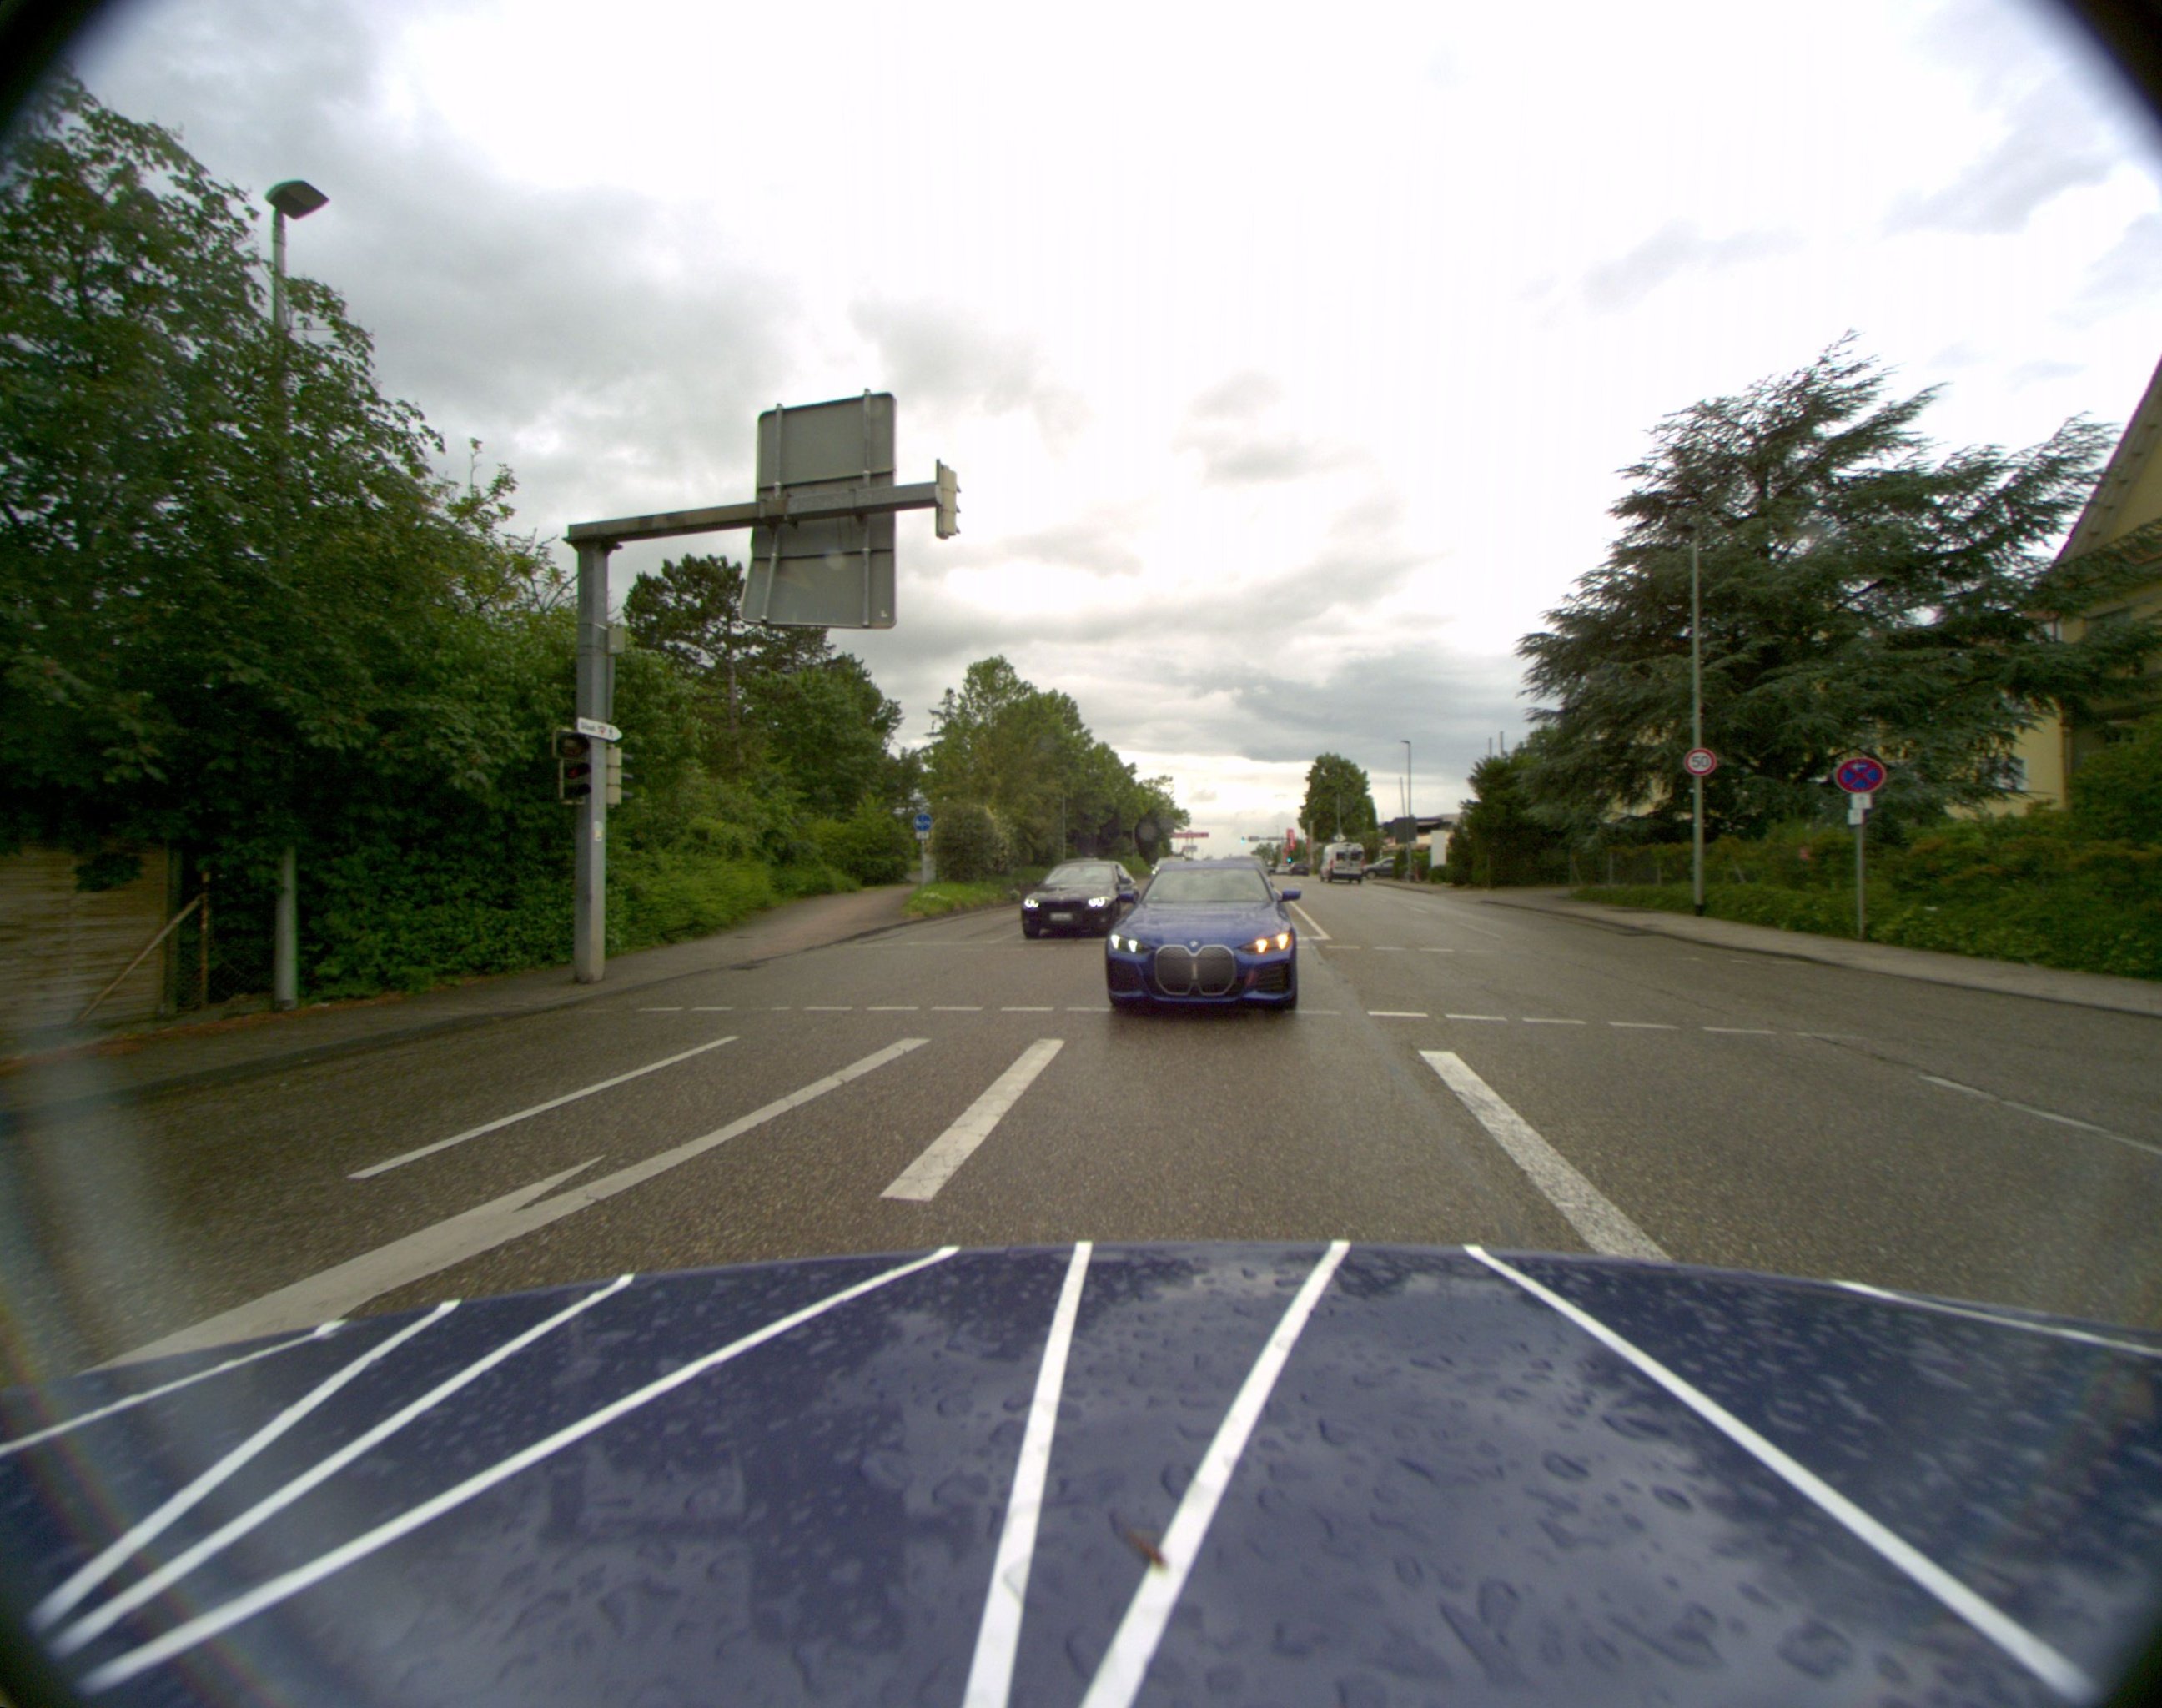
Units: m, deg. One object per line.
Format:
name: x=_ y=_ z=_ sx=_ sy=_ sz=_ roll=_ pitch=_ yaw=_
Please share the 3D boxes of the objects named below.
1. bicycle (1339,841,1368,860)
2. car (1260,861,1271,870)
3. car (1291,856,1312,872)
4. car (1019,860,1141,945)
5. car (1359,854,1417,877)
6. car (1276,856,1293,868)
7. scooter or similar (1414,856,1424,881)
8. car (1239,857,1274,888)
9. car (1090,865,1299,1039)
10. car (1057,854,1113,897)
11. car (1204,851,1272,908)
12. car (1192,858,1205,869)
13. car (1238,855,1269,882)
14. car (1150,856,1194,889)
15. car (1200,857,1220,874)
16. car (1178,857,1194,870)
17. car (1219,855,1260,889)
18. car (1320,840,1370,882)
bicycle: x=16.724 y=-0.206 z=46.623 sx=1.639 sy=1.119 sz=0.468 roll=1 pitch=0 yaw=11
car: x=34.289 y=2.088 z=141.333 sx=1.702 sy=1.590 sz=3.552 roll=-1 pitch=0 yaw=10
car: x=22.826 y=1.010 z=78.789 sx=1.778 sy=1.493 sz=4.476 roll=0 pitch=1 yaw=12
car: x=0.159 y=0.928 z=16.368 sx=1.794 sy=1.451 sz=4.723 roll=-2 pitch=0 yaw=10
car: x=22.958 y=0.851 z=56.969 sx=3.926 sy=1.642 sz=1.721 roll=0 pitch=1 yaw=18
car: x=26.726 y=1.037 z=99.682 sx=1.749 sy=1.389 sz=3.804 roll=-1 pitch=0 yaw=9
scooter or similar: x=19.377 y=0.802 z=43.596 sx=0.505 sy=1.398 sz=1.884 roll=0 pitch=1 yaw=23
car: x=10.451 y=1.067 z=45.362 sx=1.926 sy=1.708 sz=4.103 roll=-2 pitch=0 yaw=13
car: x=1.407 y=0.873 z=8.739 sx=1.802 sy=1.399 sz=4.276 roll=0 pitch=0 yaw=12
car: x=0.217 y=0.848 z=32.141 sx=1.704 sy=1.612 sz=3.844 roll=-3 pitch=0 yaw=10
car: x=4.722 y=0.710 z=22.828 sx=1.805 sy=1.543 sz=4.227 roll=0 pitch=0 yaw=12
car: x=18.936 y=1.484 z=122.189 sx=1.997 sy=1.669 sz=4.002 roll=-1 pitch=1 yaw=8
car: x=11.715 y=0.947 z=51.587 sx=1.926 sy=1.708 sz=4.103 roll=-1 pitch=0 yaw=13
car: x=5.001 y=0.975 z=41.463 sx=1.977 sy=1.612 sz=3.845 roll=-3 pitch=0 yaw=12
car: x=12.940 y=1.171 z=75.985 sx=1.827 sy=1.612 sz=3.845 roll=0 pitch=1 yaw=12
car: x=14.317 y=1.315 z=103.396 sx=1.814 sy=1.608 sz=3.911 roll=-3 pitch=0 yaw=11
car: x=7.711 y=0.820 z=36.908 sx=1.805 sy=1.543 sz=4.004 roll=0 pitch=0 yaw=12
car: x=17.172 y=0.399 z=49.729 sx=2.300 sy=2.513 sz=5.779 roll=2 pitch=1 yaw=12
